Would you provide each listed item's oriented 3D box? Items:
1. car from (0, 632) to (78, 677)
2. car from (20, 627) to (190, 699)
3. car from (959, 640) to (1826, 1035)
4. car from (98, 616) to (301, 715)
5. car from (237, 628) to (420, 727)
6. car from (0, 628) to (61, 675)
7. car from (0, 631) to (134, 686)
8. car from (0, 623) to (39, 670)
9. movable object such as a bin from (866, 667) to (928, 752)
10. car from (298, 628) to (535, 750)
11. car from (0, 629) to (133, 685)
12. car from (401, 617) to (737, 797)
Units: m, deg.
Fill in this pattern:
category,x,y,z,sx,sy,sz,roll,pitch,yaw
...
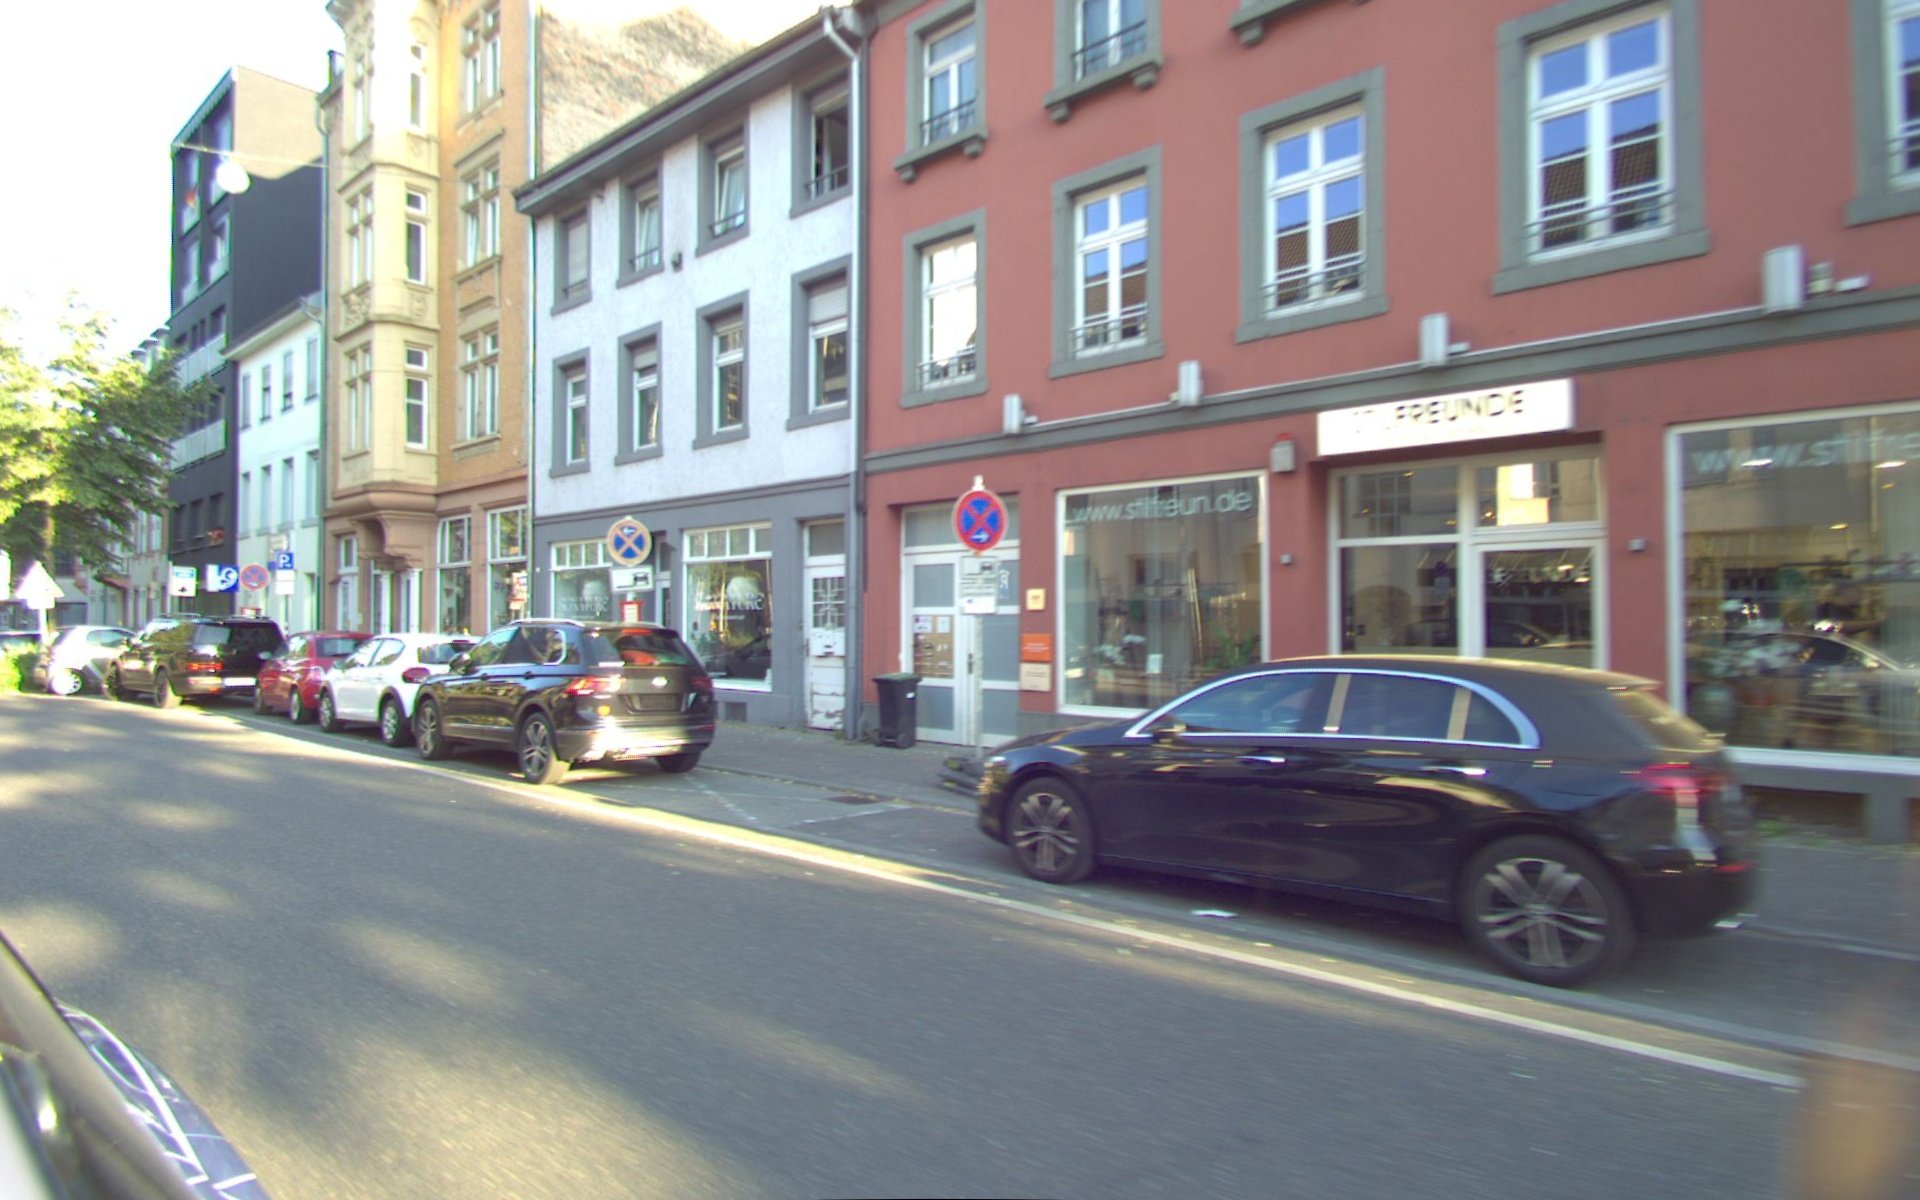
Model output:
category,x,y,z,sx,sy,sz,roll,pitch,yaw
car,-33.589,1.890,35.160,1.759,1.528,4.168,-1,-2,37
car,-19.536,1.444,23.182,1.569,1.532,2.668,-3,-4,37
car,2.167,0.976,5.872,4.307,1.451,1.695,-2,-3,41
car,-14.994,1.211,19.868,4.693,1.741,1.887,-1,-3,37
car,-10.980,1.282,17.527,3.483,1.526,1.755,-2,-4,42
car,-35.215,1.888,36.706,1.742,1.597,3.783,-1,0,43
car,-25.296,1.589,28.180,1.687,1.402,3.359,-2,-2,43
car,-39.026,1.851,39.992,1.701,1.863,3.767,-2,-2,44
movable object such as a bin,-0.798,1.363,12.700,0.670,0.997,0.425,-2,-2,41
car,-7.973,1.201,14.702,3.948,1.526,1.755,-2,-4,42
car,-27.087,1.660,29.923,1.856,1.529,3.852,-2,-1,41
car,-4.510,1.069,11.370,4.236,1.645,1.755,-2,-4,42
